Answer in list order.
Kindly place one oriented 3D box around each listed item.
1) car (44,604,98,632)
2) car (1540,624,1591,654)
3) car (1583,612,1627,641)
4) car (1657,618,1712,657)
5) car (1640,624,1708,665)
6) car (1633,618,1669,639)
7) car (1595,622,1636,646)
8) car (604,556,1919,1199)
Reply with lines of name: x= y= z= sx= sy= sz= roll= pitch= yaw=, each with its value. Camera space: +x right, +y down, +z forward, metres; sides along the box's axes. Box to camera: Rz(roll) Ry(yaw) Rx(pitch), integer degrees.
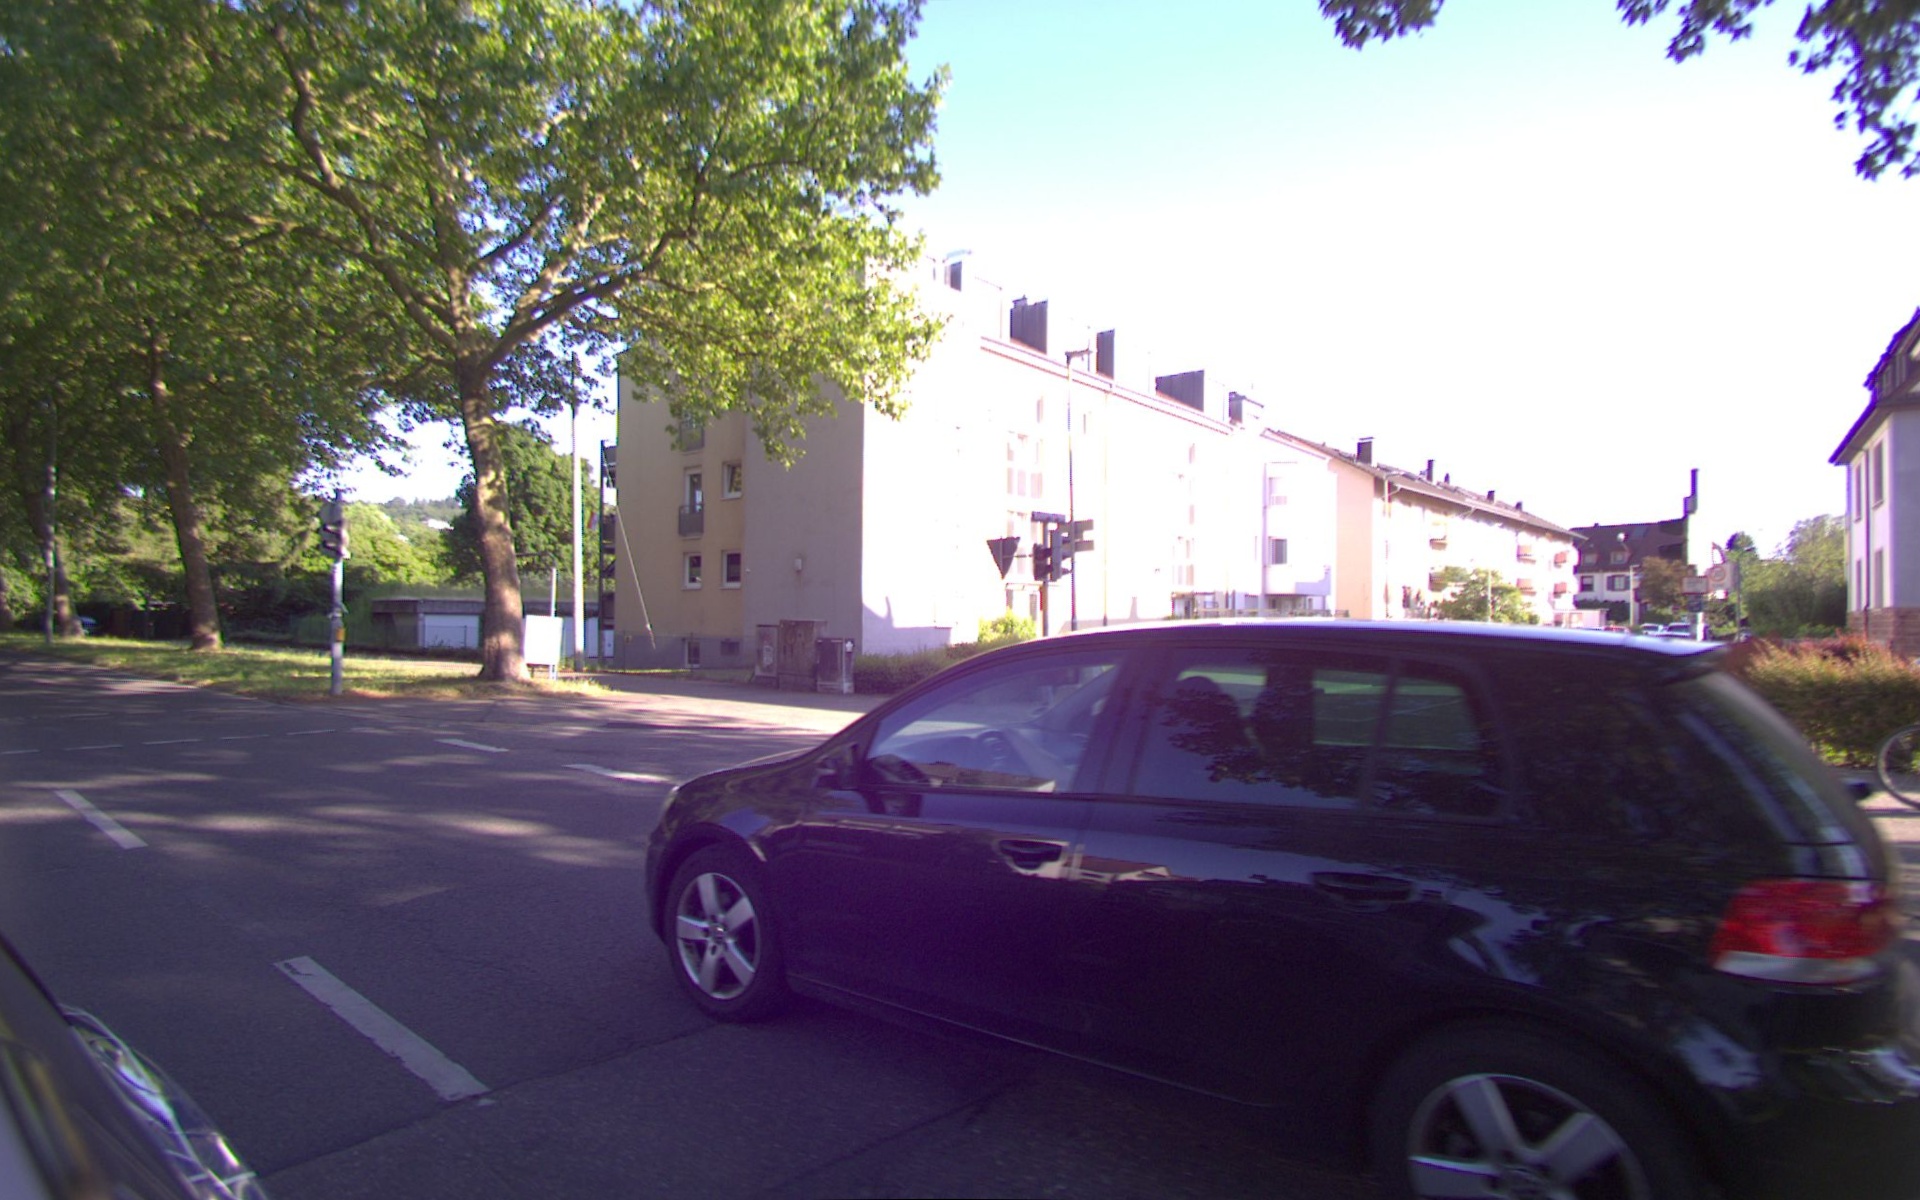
car: x=-51.473 y=1.055 z=58.565 sx=3.998 sy=1.541 sz=1.790 roll=0 pitch=-2 yaw=41
car: x=35.458 y=2.223 z=59.245 sx=1.998 sy=1.683 sz=3.947 roll=-1 pitch=-2 yaw=39
car: x=41.307 y=1.706 z=64.795 sx=1.997 sy=1.782 sz=3.949 roll=-1 pitch=-2 yaw=38
car: x=34.849 y=1.755 z=48.668 sx=1.997 sy=1.782 sz=3.949 roll=-1 pitch=-2 yaw=38
car: x=28.031 y=1.712 z=39.686 sx=1.997 sy=1.498 sz=3.949 roll=-1 pitch=-2 yaw=38
car: x=55.512 y=2.275 z=81.268 sx=1.998 sy=1.683 sz=3.947 roll=-1 pitch=-2 yaw=39
car: x=46.143 y=2.367 z=71.249 sx=1.998 sy=1.683 sz=3.947 roll=-1 pitch=-2 yaw=39
car: x=0.754 y=0.683 z=3.310 sx=4.063 sy=1.475 sz=1.709 roll=0 pitch=-1 yaw=38
